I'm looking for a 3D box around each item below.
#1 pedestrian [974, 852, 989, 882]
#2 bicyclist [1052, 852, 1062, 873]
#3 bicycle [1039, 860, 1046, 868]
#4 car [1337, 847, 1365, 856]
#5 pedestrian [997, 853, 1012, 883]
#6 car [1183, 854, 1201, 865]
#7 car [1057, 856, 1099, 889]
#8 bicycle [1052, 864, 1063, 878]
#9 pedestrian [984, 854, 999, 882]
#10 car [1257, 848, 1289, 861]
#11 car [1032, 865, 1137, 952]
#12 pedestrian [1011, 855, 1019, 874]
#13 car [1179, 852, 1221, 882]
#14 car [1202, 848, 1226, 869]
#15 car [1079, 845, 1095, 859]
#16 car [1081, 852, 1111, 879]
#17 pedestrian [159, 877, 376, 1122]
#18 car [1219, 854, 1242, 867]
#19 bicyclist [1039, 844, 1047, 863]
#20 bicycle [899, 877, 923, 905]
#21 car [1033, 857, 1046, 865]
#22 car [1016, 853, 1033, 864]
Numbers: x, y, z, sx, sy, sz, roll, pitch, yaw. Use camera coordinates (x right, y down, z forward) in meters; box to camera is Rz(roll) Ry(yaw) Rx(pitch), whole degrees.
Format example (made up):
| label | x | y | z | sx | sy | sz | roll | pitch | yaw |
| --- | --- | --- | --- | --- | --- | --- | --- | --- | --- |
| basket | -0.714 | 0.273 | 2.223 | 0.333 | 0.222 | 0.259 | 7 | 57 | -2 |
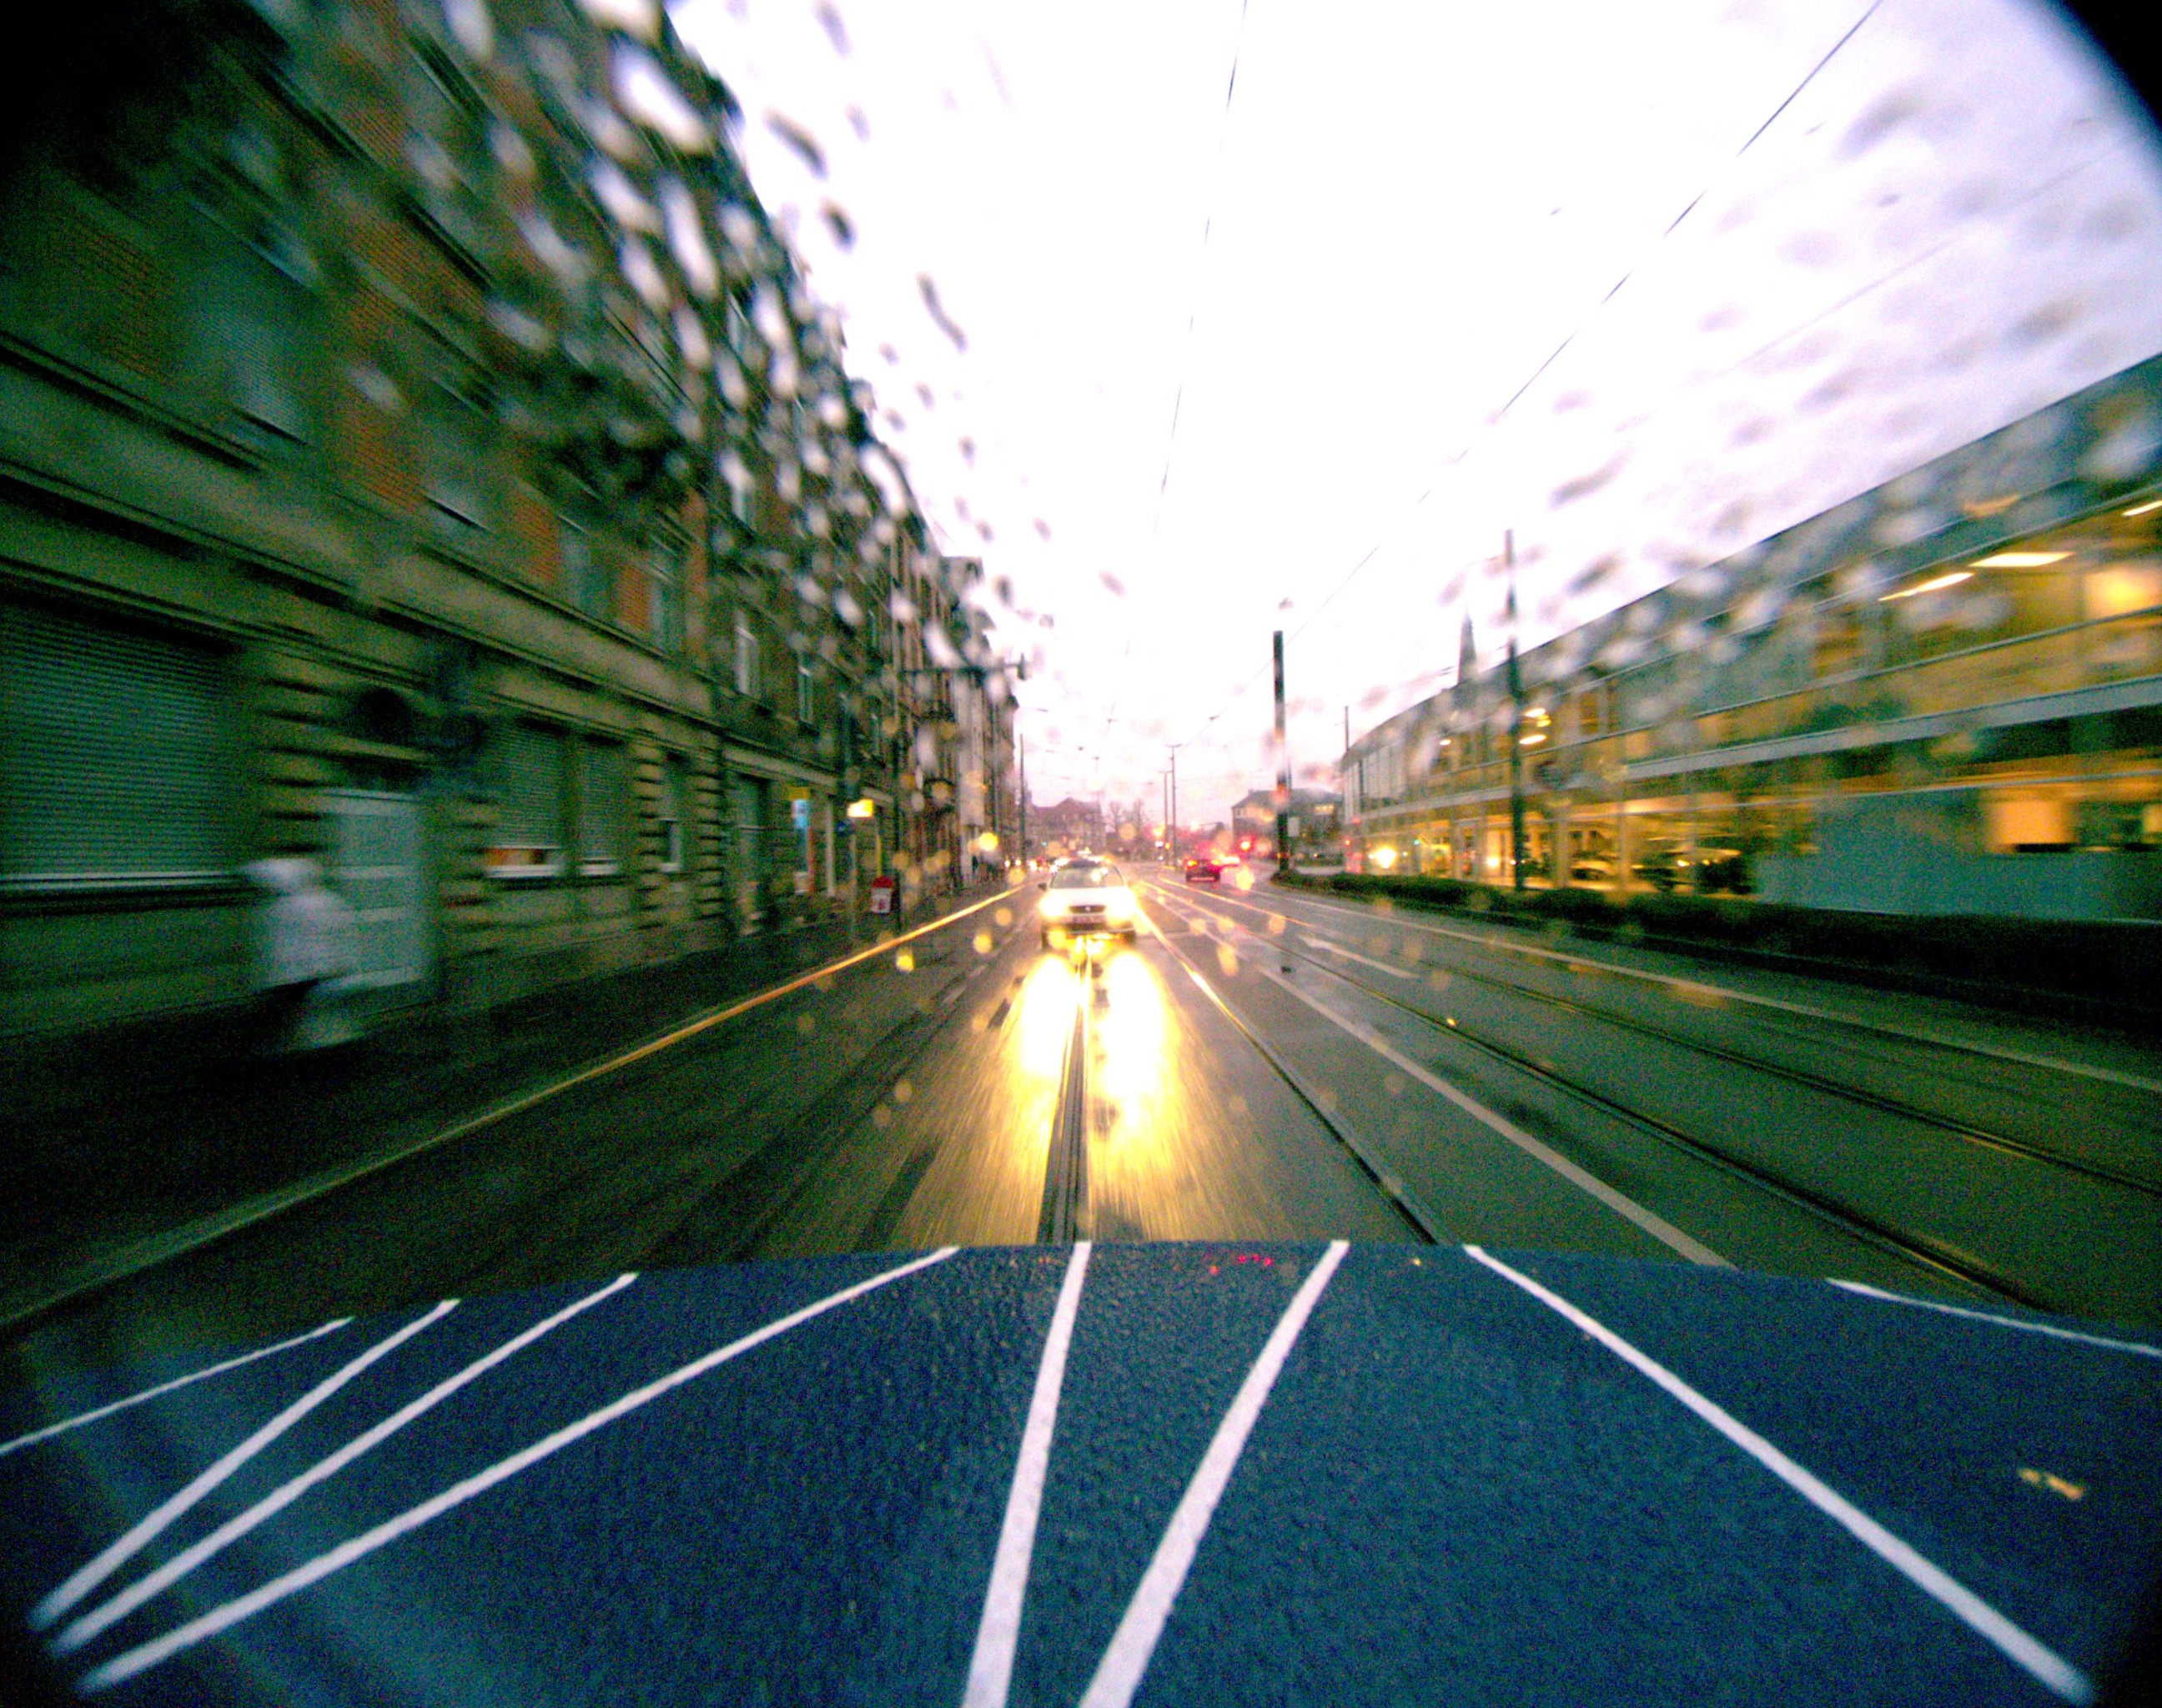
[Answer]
| label | x | y | z | sx | sy | sz | roll | pitch | yaw |
| --- | --- | --- | --- | --- | --- | --- | --- | --- | --- |
| pedestrian | -5.811 | 0.767 | 44.475 | 0.777 | 1.734 | 0.673 | -1 | 1 | 1 |
| bicyclist | -1.859 | 0.655 | 58.380 | 0.727 | 1.525 | 0.785 | -2 | 1 | 0 |
| bicycle | -3.737 | 1.006 | 74.688 | 0.609 | 0.757 | 1.860 | -1 | 1 | -1 |
| car | 44.530 | -0.374 | 125.282 | 2.003 | 1.302 | 3.990 | -3 | 1 | -35 |
| pedestrian | -4.590 | 0.838 | 45.500 | 0.777 | 1.734 | 0.673 | -1 | 1 | 1 |
| car | 14.025 | 0.665 | 96.218 | 1.876 | 1.382 | 4.001 | 0 | 0 | 4 |
| car | -0.096 | 0.861 | 36.462 | 1.797 | 1.415 | 4.000 | -2 | 0 | 3 |
| bicycle | -1.833 | 1.304 | 58.480 | 0.725 | 0.985 | 2.212 | -2 | 0 | 0 |
| pedestrian | -5.523 | 0.859 | 46.753 | 0.777 | 1.734 | 0.673 | -1 | 1 | 1 |
| car | 34.248 | 0.120 | 135.341 | 5.560 | 2.002 | 1.996 | -3 | 1 | -26 |
| car | 0.153 | 0.992 | 15.369 | 1.797 | 1.415 | 4.000 | -2 | 0 | 3 |
| pedestrian | -5.270 | 0.832 | 60.820 | 0.633 | 1.539 | 0.710 | -2 | 1 | -5 |
| car | 6.753 | 0.694 | 43.533 | 1.845 | 1.569 | 4.442 | -1 | 0 | 3 |
| car | 13.626 | 0.387 | 77.981 | 1.998 | 2.002 | 4.686 | -2 | 1 | 5 |
| car | 0.849 | -0.296 | 104.375 | 2.018 | 1.809 | 3.688 | -2 | 1 | 1 |
| car | 1.004 | 0.709 | 49.116 | 1.824 | 1.565 | 4.000 | -2 | 0 | 2 |
| pedestrian | -5.804 | 0.976 | 5.456 | 0.787 | 1.588 | 0.742 | -1 | 1 | 15 |
| car | 17.723 | 0.708 | 90.326 | 1.998 | 1.413 | 4.588 | -2 | 0 | 4 |
| bicyclist | -3.750 | -0.037 | 74.648 | 0.747 | 1.869 | 1.111 | -1 | 1 | -1 |
| bicycle | -6.031 | 1.298 | 27.047 | 0.398 | 0.906 | 1.866 | -1 | 0 | 1 |
| car | -7.503 | 1.253 | 136.904 | 1.829 | 1.499 | 3.801 | -2 | 0 | -8 |
| car | -9.508 | 0.712 | 128.044 | 1.997 | 1.827 | 4.873 | -2 | 0 | 6 |
